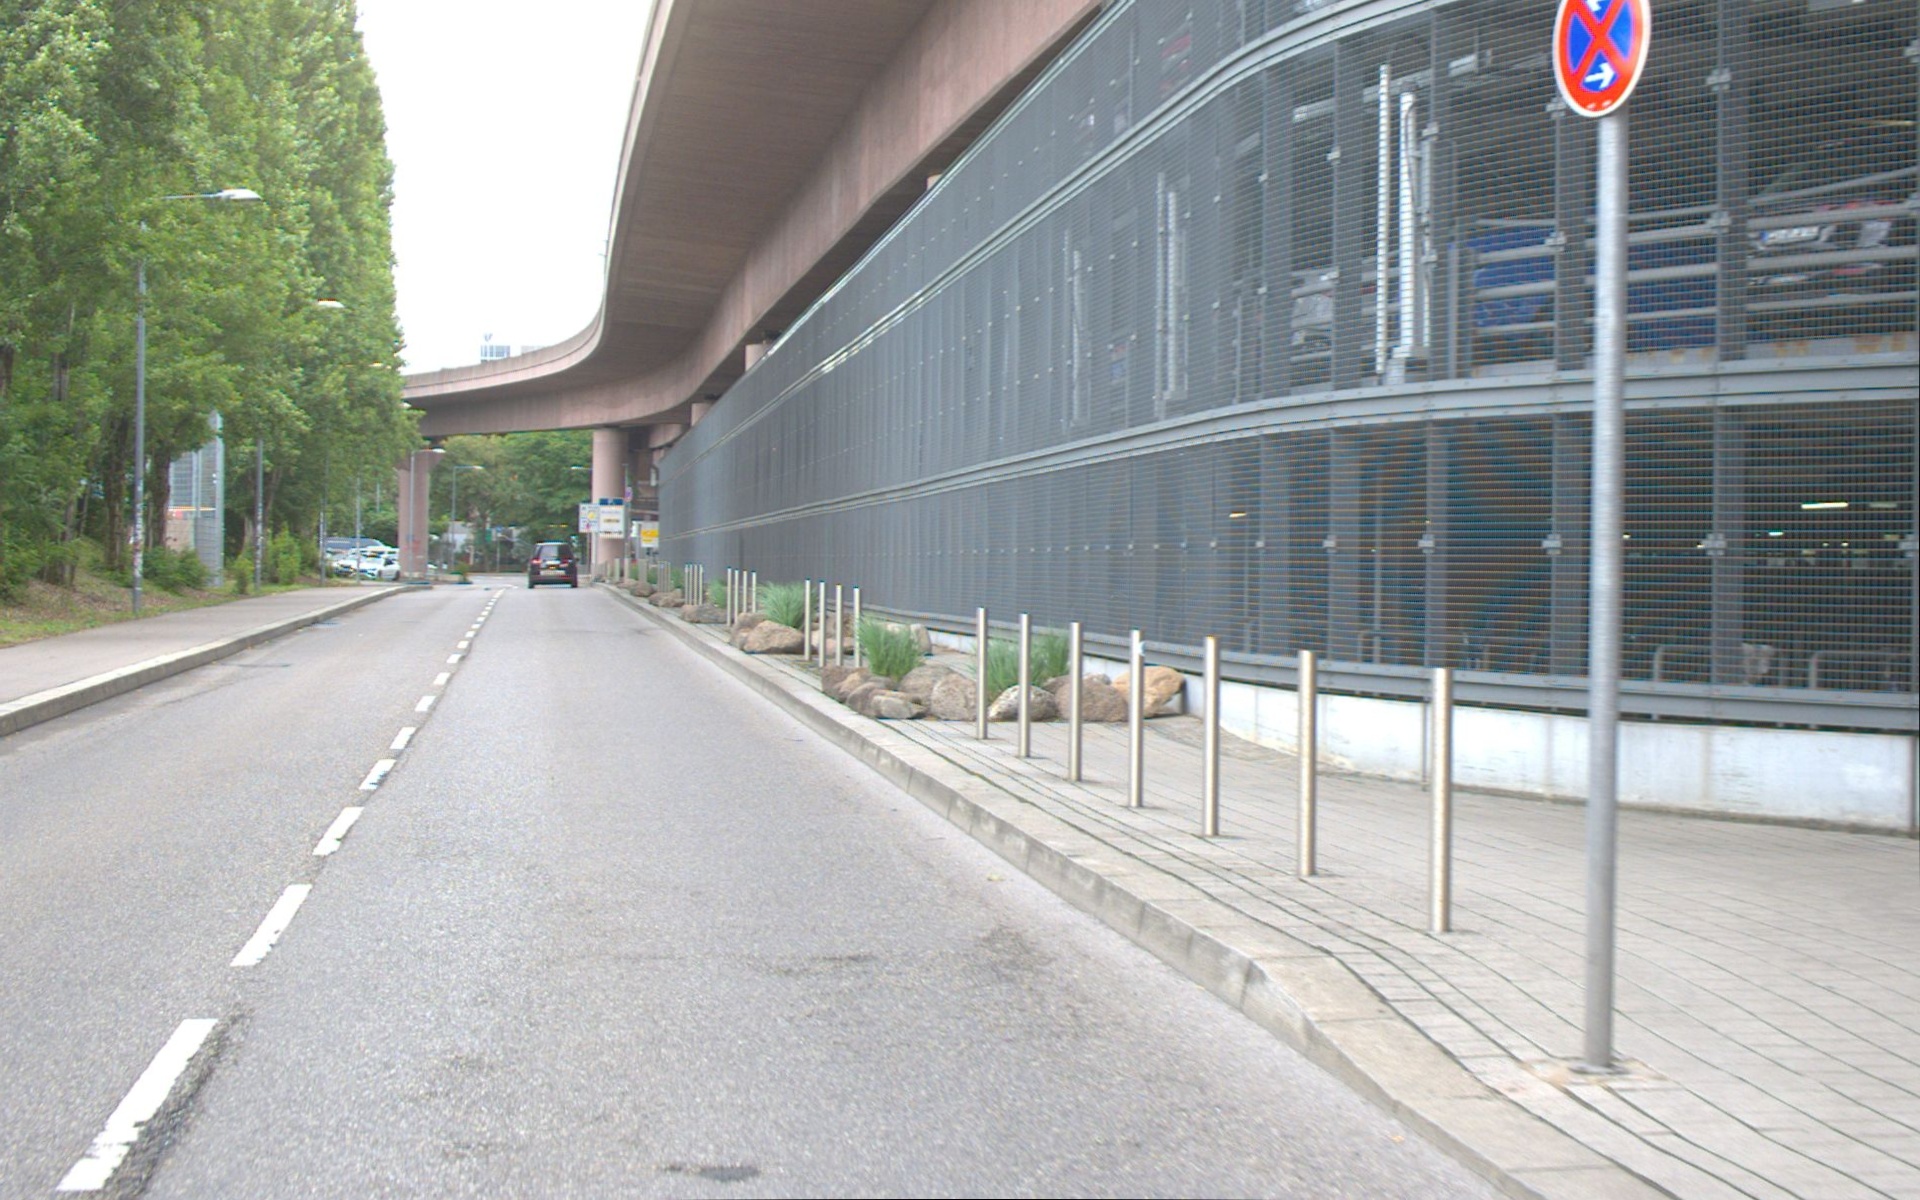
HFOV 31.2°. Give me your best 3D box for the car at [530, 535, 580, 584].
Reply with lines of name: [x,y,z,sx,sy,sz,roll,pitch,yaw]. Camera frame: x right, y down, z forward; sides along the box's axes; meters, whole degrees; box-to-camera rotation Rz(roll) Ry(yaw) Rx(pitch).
car: [-15.328,-1.551,129.970,1.839,1.705,3.706,0,2,-7]

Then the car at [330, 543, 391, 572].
car: [-38.065,-2.727,218.322,1.723,1.711,3.665,2,3,34]

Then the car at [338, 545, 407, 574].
car: [-36.679,-2.537,214.694,1.883,1.711,4.145,2,3,34]
